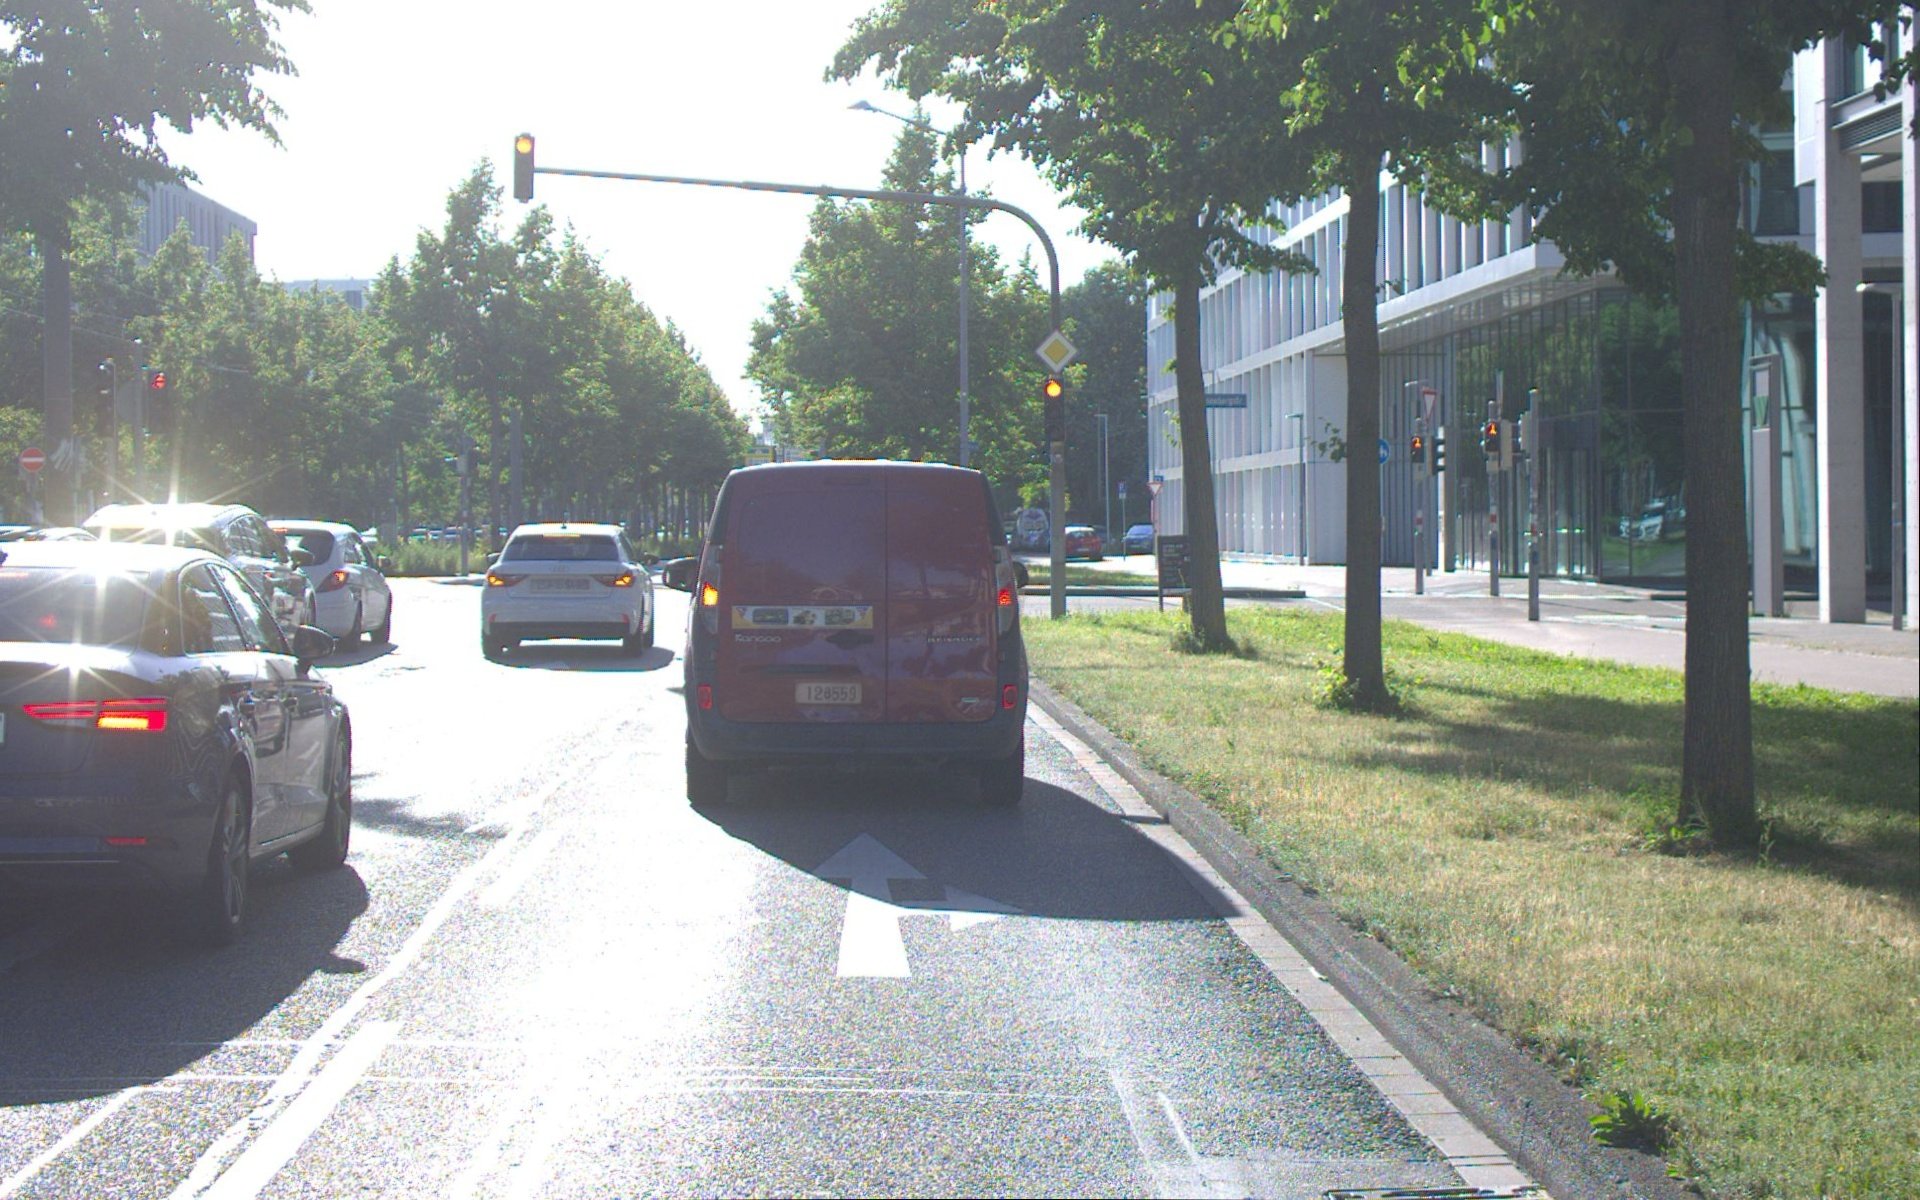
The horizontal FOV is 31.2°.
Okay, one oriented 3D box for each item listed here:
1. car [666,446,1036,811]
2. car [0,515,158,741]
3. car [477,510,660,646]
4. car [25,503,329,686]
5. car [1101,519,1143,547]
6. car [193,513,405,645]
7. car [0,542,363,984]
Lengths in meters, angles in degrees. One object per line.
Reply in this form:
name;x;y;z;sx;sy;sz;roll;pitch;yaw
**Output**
car;-0.556;0.090;19.074;1.797;1.771;4.000;1;2;0
car;-6.921;0.135;24.001;1.942;1.436;4.001;0;2;-4
car;-4.281;-0.284;38.020;1.721;1.420;3.817;0;2;-2
car;-6.884;-0.079;30.612;1.842;1.529;3.940;0;1;-1
car;8.159;-3.396;173.162;1.563;1.363;3.334;0;2;-6
car;-7.374;-0.276;38.684;1.715;1.393;4.001;0;2;-2
car;-3.417;0.484;12.960;1.721;1.361;4.146;0;1;-2
